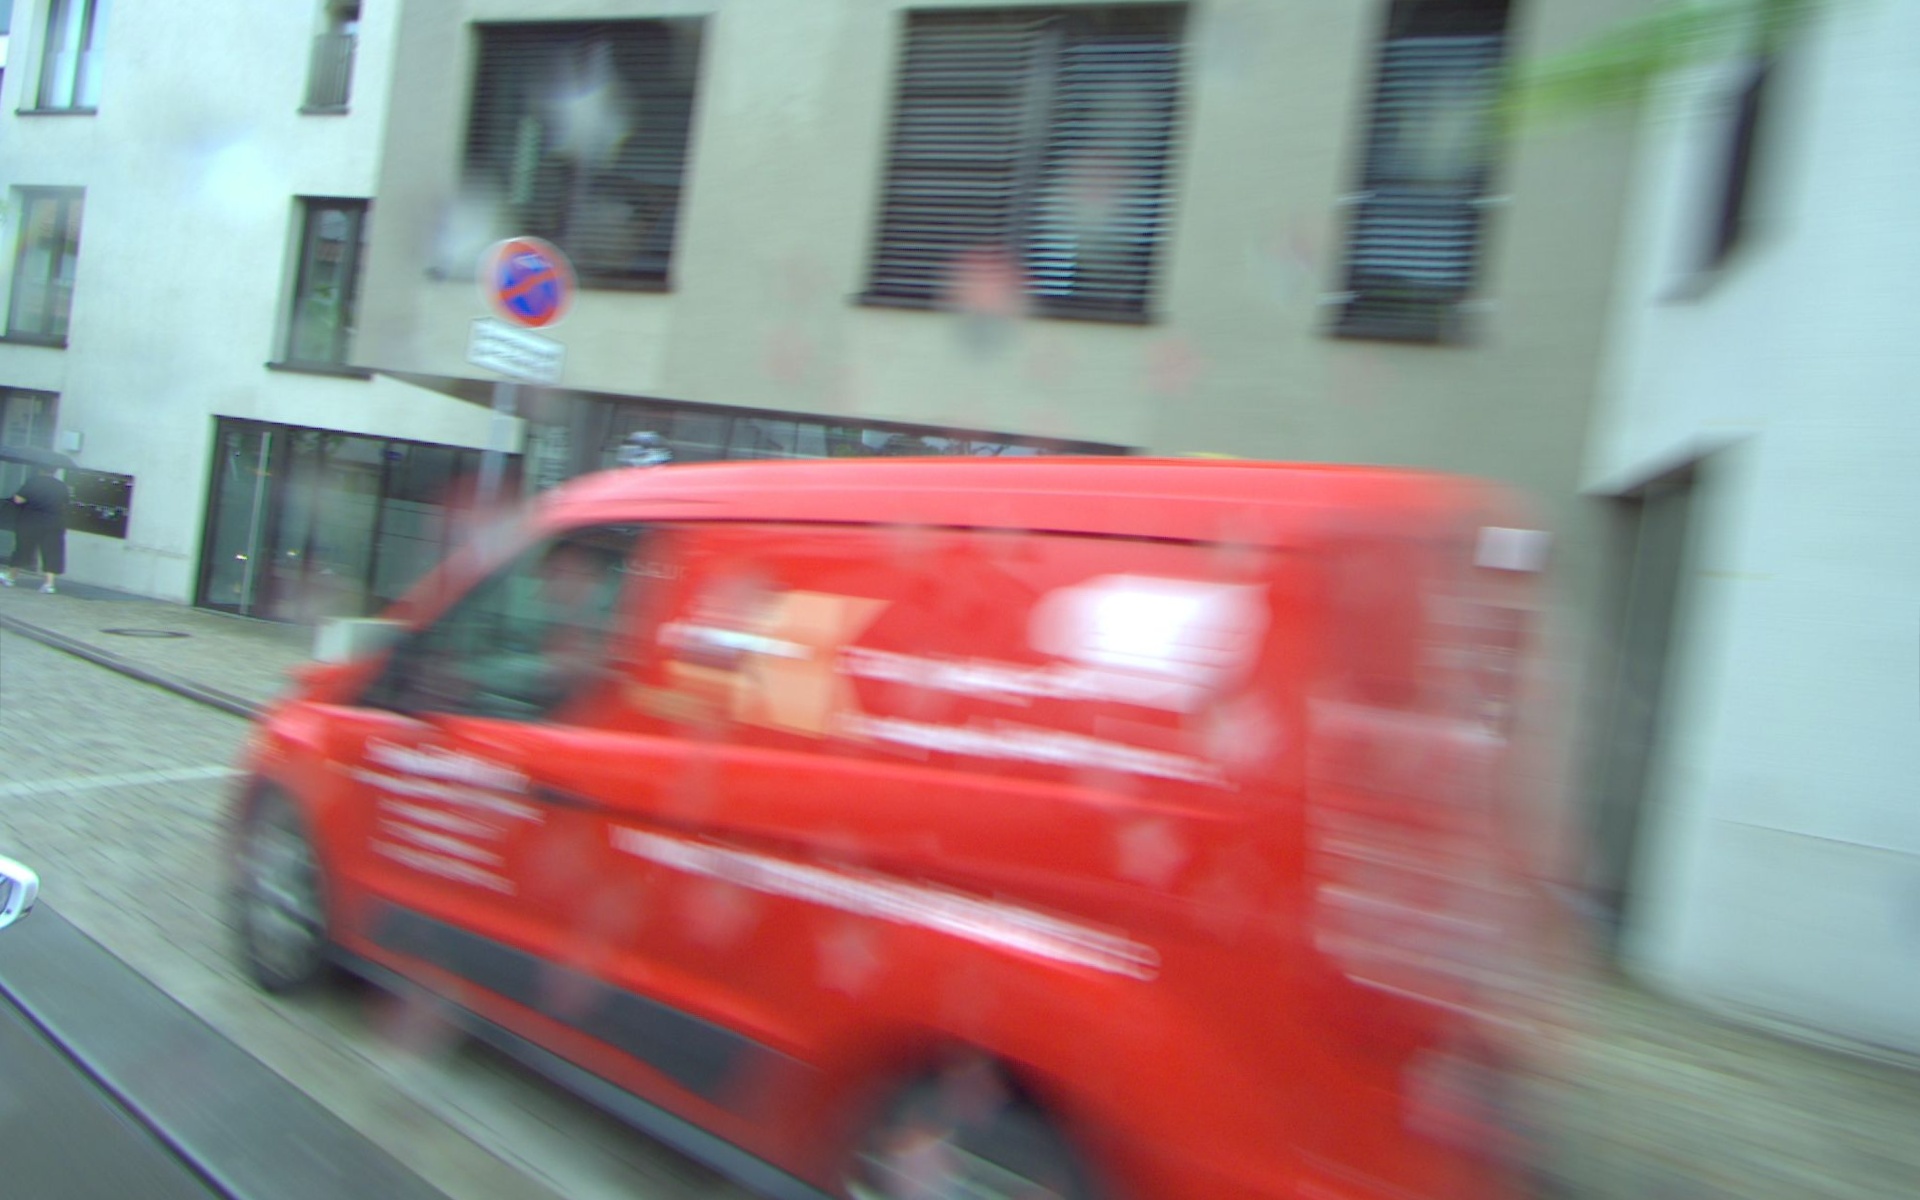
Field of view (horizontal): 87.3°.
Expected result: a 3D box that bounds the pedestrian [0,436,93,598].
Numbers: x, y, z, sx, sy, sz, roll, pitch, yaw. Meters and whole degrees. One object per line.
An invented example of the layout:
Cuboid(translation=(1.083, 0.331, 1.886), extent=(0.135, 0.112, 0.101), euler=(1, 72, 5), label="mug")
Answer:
Cuboid(translation=(-12.731, -1.133, 13.742), extent=(1.065, 2.037, 0.868), euler=(7, -1, 32), label="pedestrian")

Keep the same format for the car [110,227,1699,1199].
Cuboid(translation=(-0.640, 0.376, 3.205), extent=(4.529, 1.931, 1.836), euler=(6, 1, 33), label="car")
